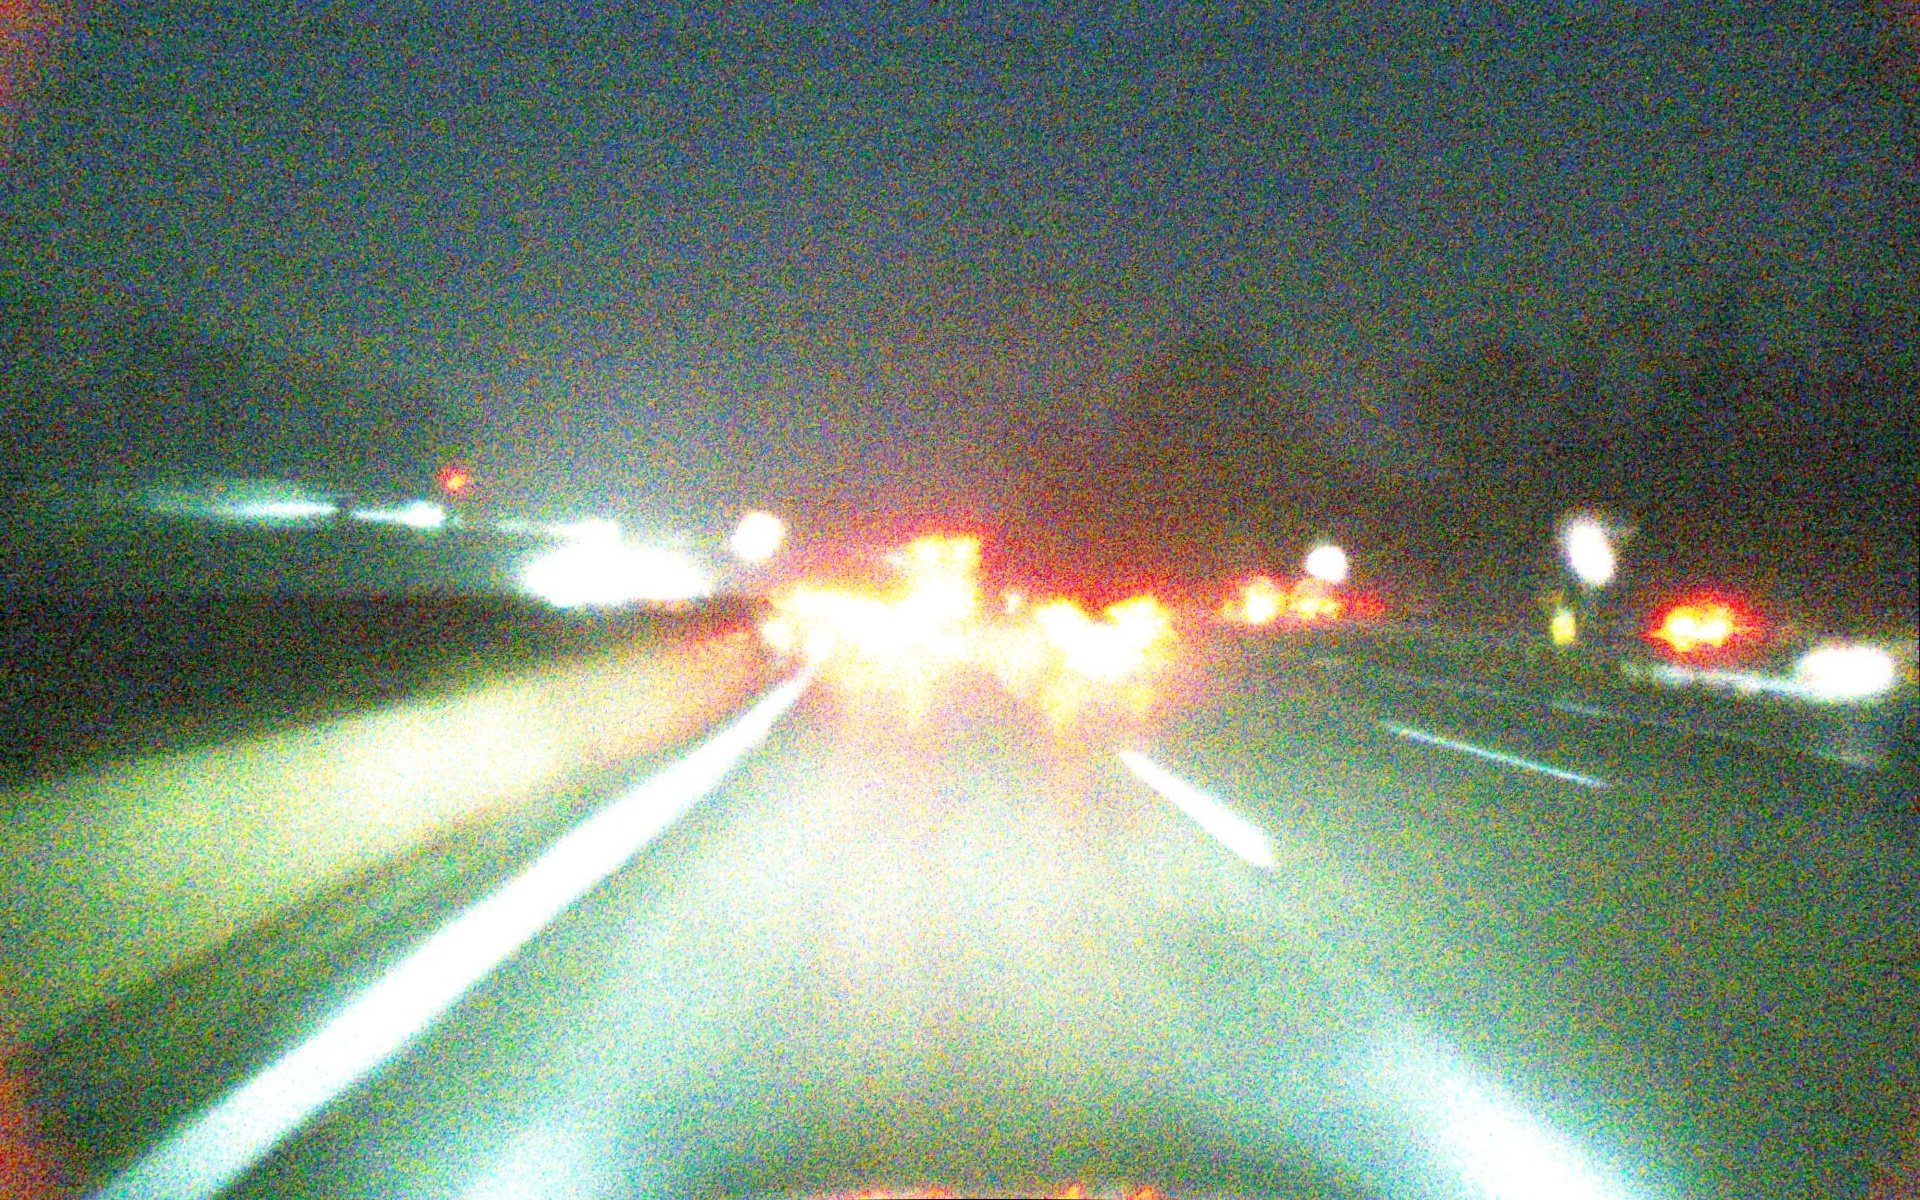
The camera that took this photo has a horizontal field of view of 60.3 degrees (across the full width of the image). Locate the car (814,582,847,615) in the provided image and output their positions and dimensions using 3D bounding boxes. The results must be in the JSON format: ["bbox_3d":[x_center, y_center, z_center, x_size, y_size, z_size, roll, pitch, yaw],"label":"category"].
[{"bbox_3d":[-8.470,-0.086,107.618,1.955,2.049,3.994,1,0,-7],"label":"car"}]

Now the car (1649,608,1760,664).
[{"bbox_3d":[24.384,1.144,54.333,1.952,1.628,4.002,3,1,3],"label":"car"}]

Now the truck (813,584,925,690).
[{"bbox_3d":[-2.007,0.754,38.396,2.101,2.113,6.604,3,1,0],"label":"truck"}]

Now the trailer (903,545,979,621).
[{"bbox_3d":[-1.395,-1.258,107.700,2.689,4.320,13.345,-4,3,-9],"label":"trailer"}]

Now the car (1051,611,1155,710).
[{"bbox_3d":[2.606,1.070,30.942,1.763,1.645,4.258,-1,0,3],"label":"car"}]
